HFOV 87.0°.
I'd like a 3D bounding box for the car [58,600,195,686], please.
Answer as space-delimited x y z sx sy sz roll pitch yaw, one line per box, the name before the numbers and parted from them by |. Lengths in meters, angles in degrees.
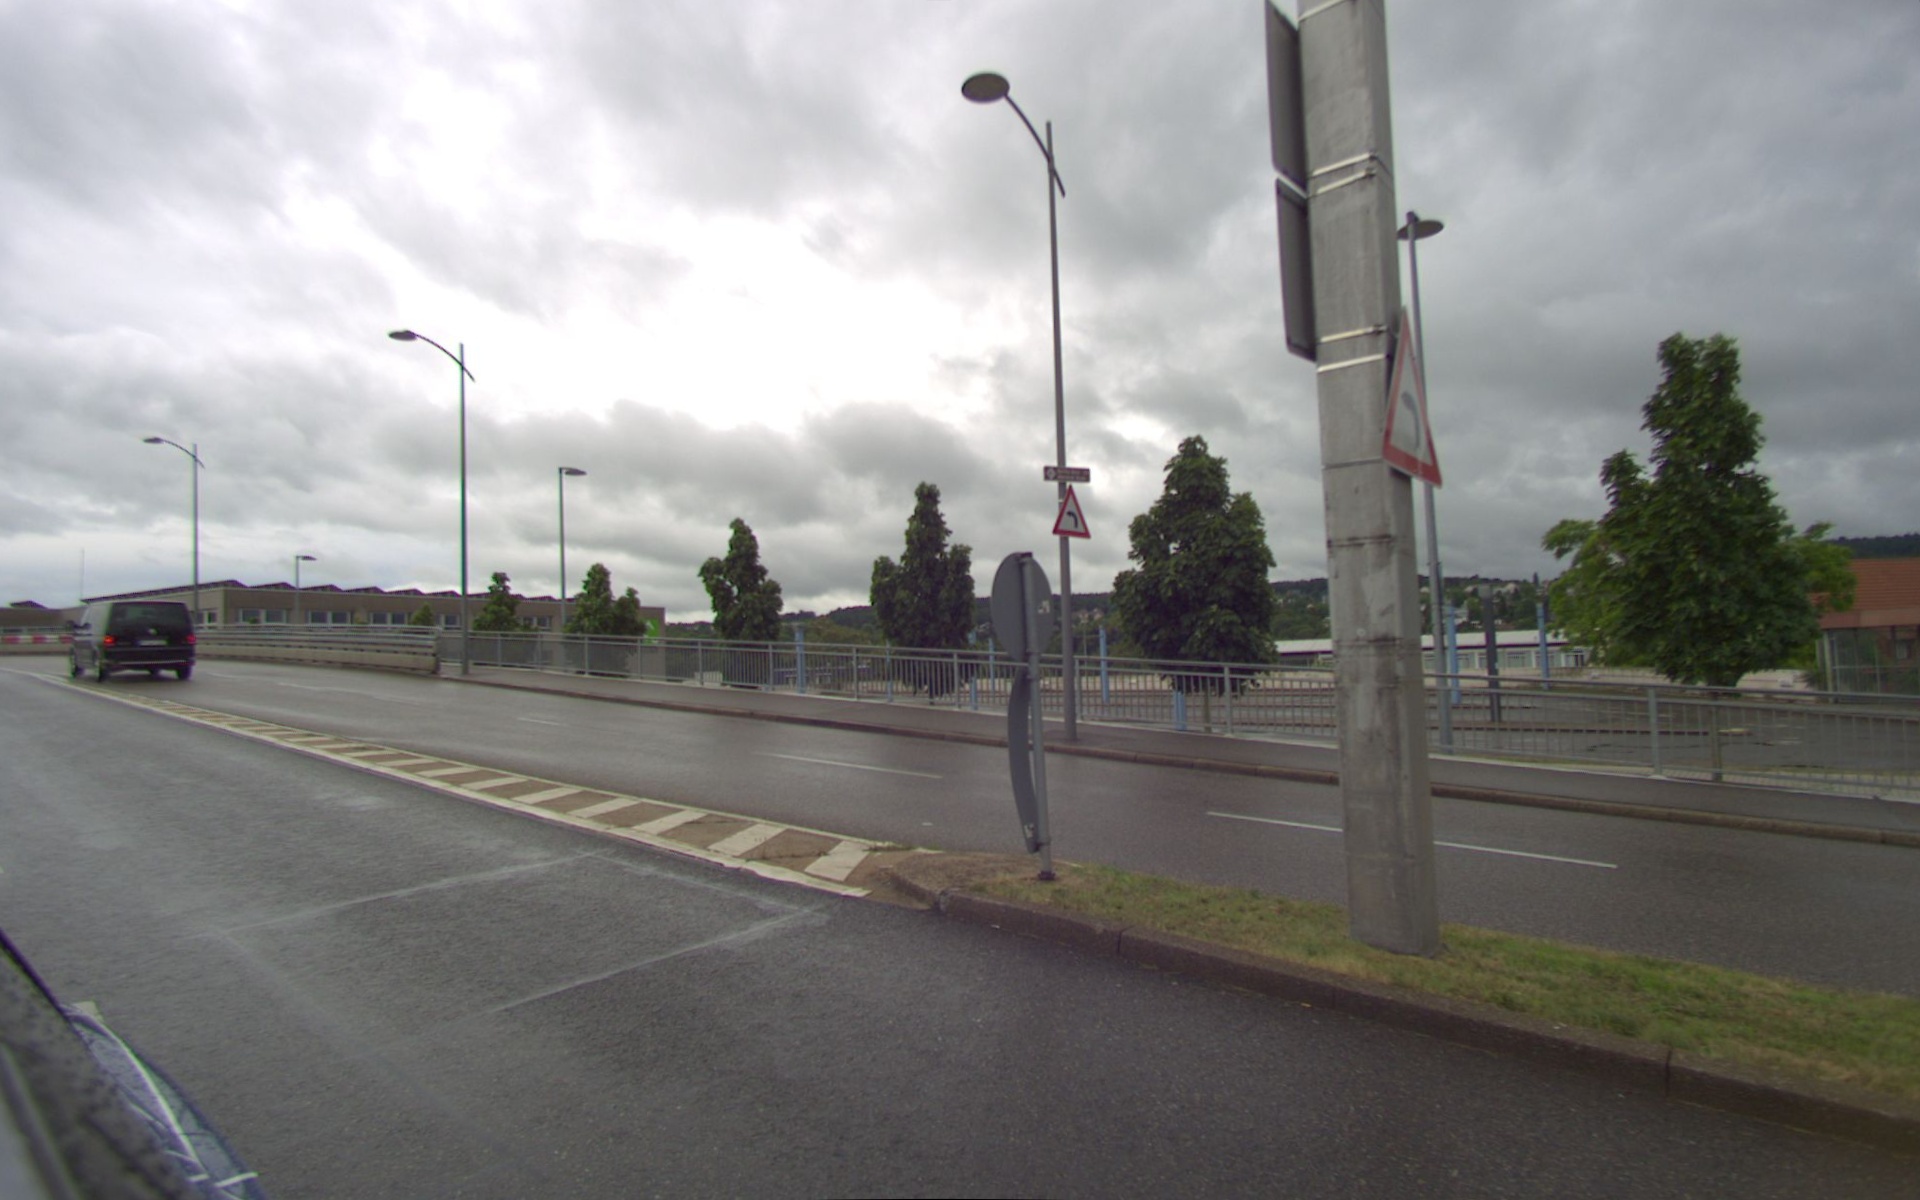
car | -21.000 1.040 25.431 4.682 1.983 1.826 -1 -3 41
